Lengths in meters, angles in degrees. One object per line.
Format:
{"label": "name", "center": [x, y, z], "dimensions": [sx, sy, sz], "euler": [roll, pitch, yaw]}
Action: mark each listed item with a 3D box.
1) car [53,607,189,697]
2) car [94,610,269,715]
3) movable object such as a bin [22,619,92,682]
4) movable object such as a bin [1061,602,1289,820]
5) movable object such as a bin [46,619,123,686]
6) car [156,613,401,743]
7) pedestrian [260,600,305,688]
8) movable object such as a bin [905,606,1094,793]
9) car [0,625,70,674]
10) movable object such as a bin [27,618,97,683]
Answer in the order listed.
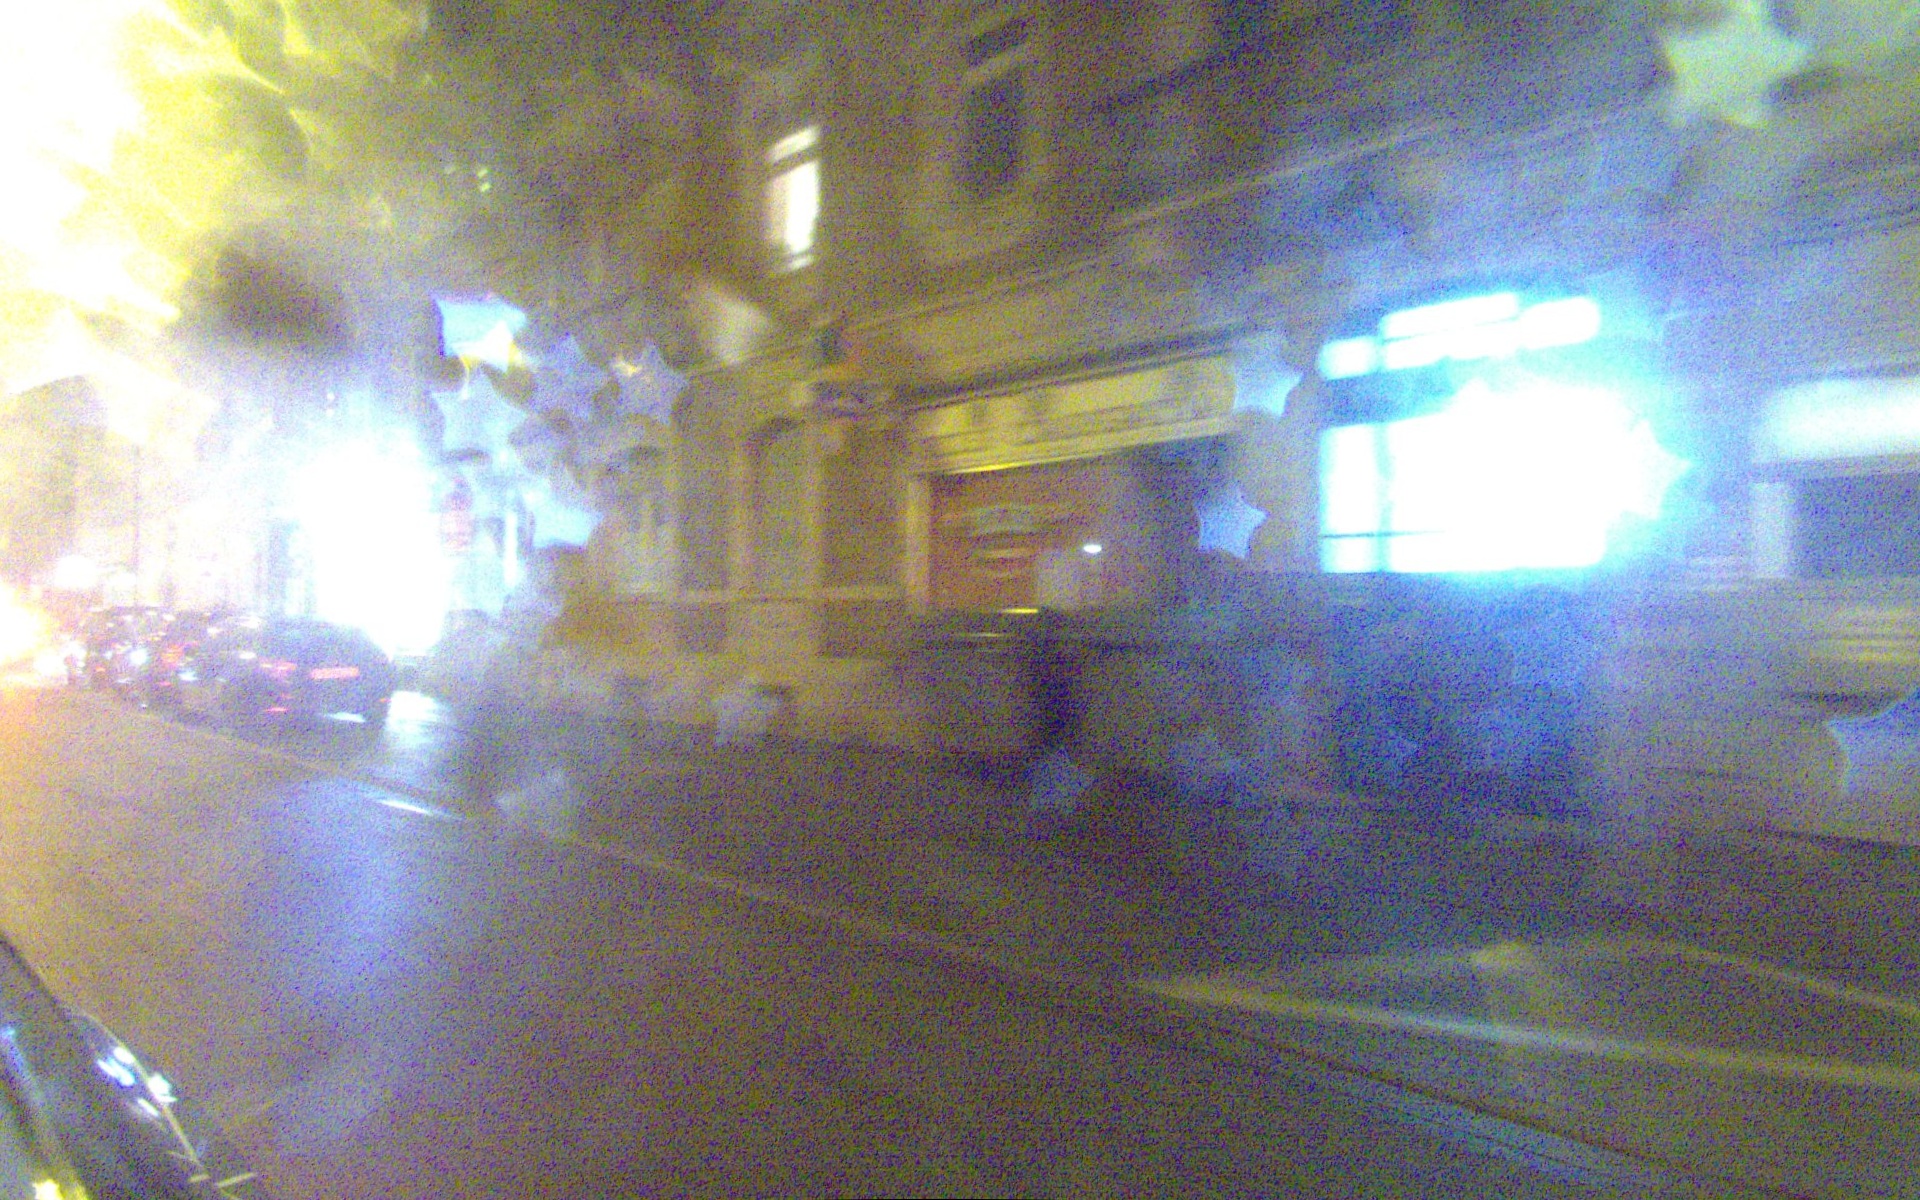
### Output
{"label": "car", "center": [-17.592, 1.022, 21.169], "dimensions": [3.719, 1.719, 1.587], "euler": [-1, -1, 41]}
{"label": "car", "center": [-13.315, 0.996, 17.230], "dimensions": [4.023, 1.564, 1.587], "euler": [-2, -1, 41]}
{"label": "movable object such as a bin", "center": [-22.378, 1.226, 25.093], "dimensions": [1.107, 1.470, 1.195], "euler": [-1, 0, 43]}
{"label": "movable object such as a bin", "center": [1.610, 0.751, 7.584], "dimensions": [1.248, 1.430, 1.128], "euler": [-1, 0, 44]}
{"label": "movable object such as a bin", "center": [-20.496, 1.206, 23.687], "dimensions": [1.151, 1.470, 1.248], "euler": [-1, 0, 43]}
{"label": "car", "center": [-9.274, 0.947, 13.625], "dimensions": [4.313, 1.466, 1.669], "euler": [-2, -1, 41]}
{"label": "pedestrian", "center": [-14.158, 0.908, 21.151], "dimensions": [0.549, 1.794, 0.632], "euler": [-1, -2, 41]}
{"label": "movable object such as a bin", "center": [0.341, 0.785, 8.707], "dimensions": [1.154, 1.430, 1.128], "euler": [-1, 0, 43]}
{"label": "car", "center": [-28.075, 1.433, 30.277], "dimensions": [4.220, 1.369, 1.637], "euler": [-1, -1, 41]}
{"label": "movable object such as a bin", "center": [-21.536, 1.185, 24.270], "dimensions": [1.107, 1.470, 1.152], "euler": [-1, 0, 43]}
